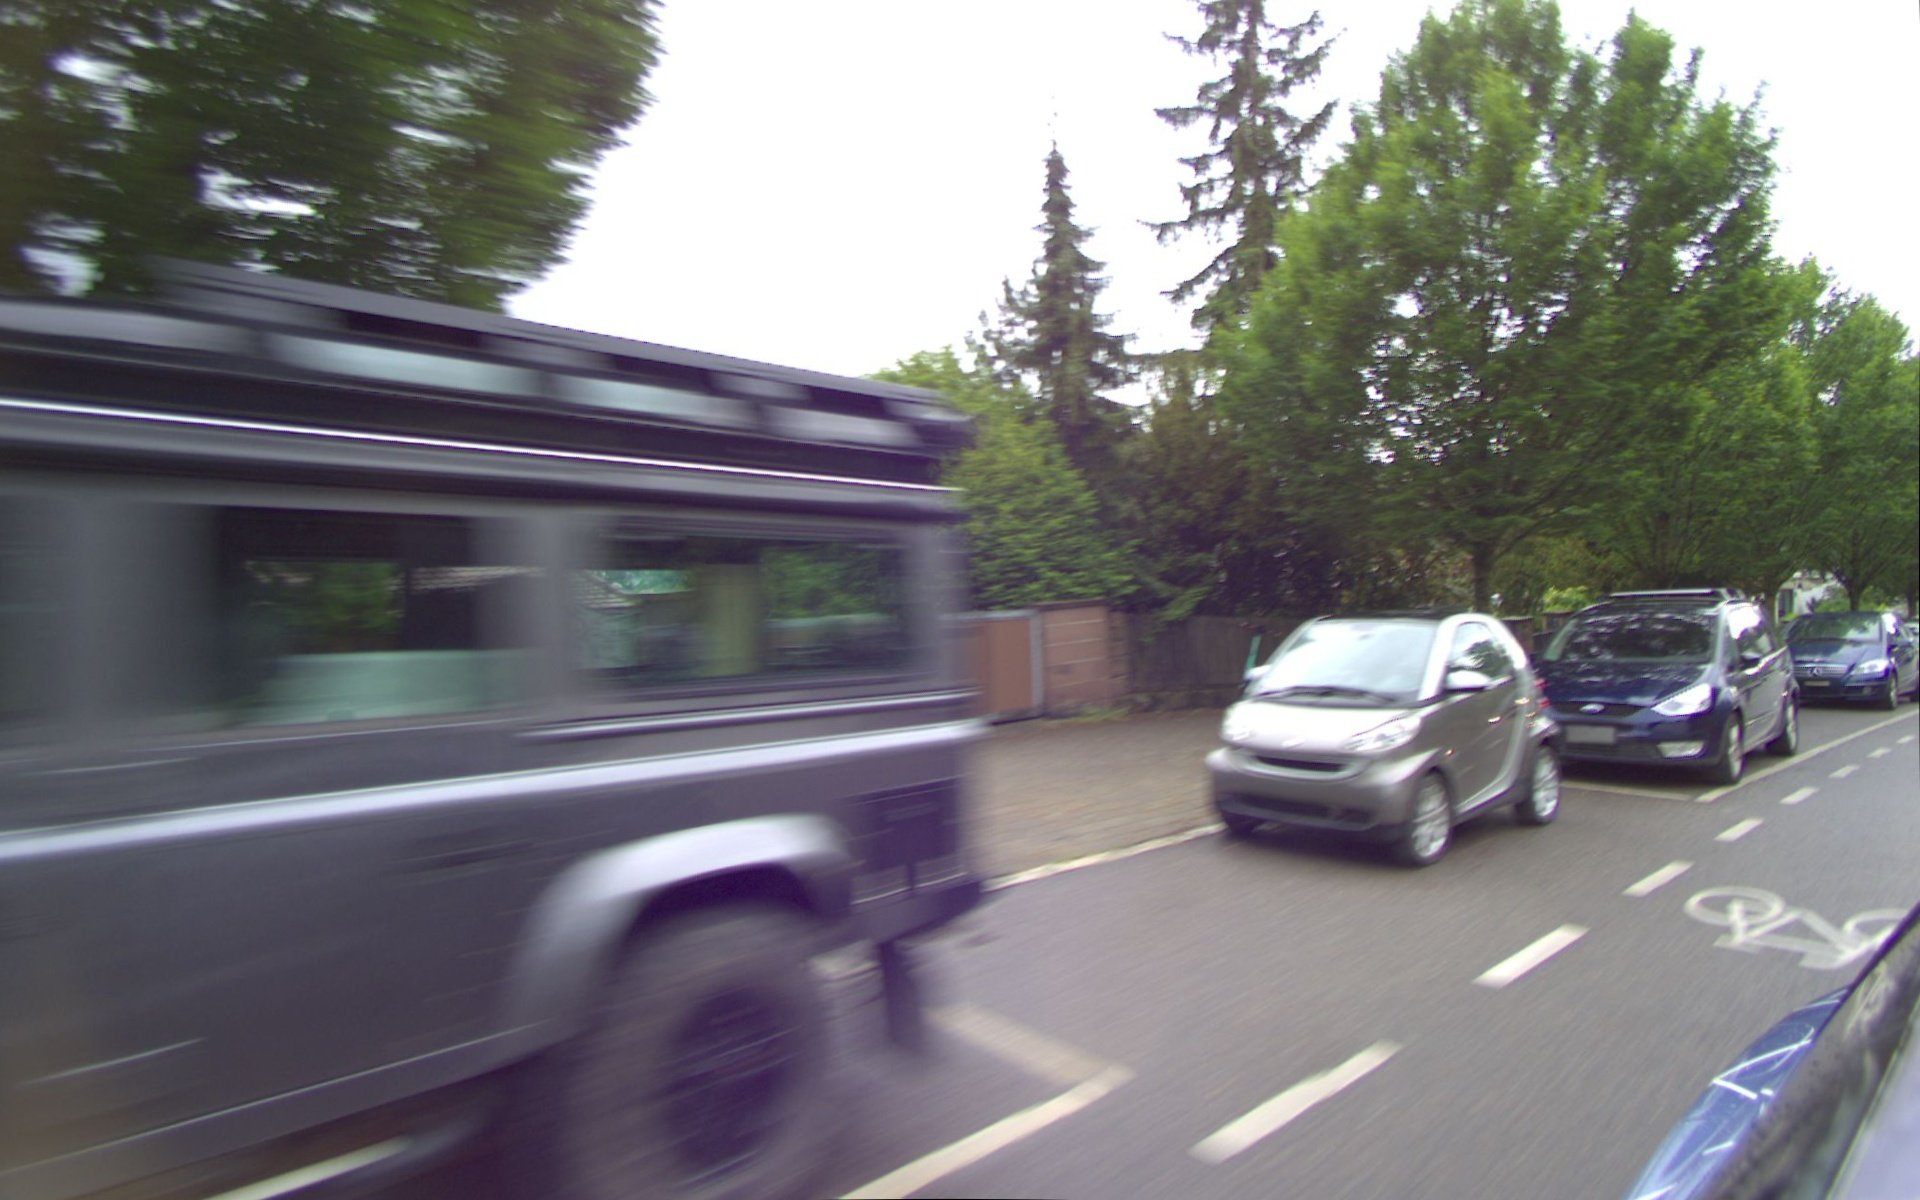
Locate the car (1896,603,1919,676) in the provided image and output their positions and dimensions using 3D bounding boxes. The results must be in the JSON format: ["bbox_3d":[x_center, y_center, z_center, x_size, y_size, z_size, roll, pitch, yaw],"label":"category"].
[{"bbox_3d":[23.393,0.906,23.632,4.149,1.630,1.786,1,-2,-41],"label":"car"}]

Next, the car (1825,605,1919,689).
[{"bbox_3d":[19.503,0.902,20.551,4.761,1.557,1.998,1,-2,-38],"label":"car"}]

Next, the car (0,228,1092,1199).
[{"bbox_3d":[-2.104,0.478,2.344,5.033,2.078,1.996,0,-2,-42],"label":"car"}]

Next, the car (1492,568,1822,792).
[{"bbox_3d":[7.303,0.680,10.402,4.598,1.806,1.782,1,-1,-42],"label":"car"}]

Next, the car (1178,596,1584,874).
[{"bbox_3d":[3.120,0.784,7.338,2.903,1.578,1.599,1,-1,-41],"label":"car"}]

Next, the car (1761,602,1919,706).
[{"bbox_3d":[15.395,0.857,17.351,3.850,1.591,1.697,1,-2,-38],"label":"car"}]
